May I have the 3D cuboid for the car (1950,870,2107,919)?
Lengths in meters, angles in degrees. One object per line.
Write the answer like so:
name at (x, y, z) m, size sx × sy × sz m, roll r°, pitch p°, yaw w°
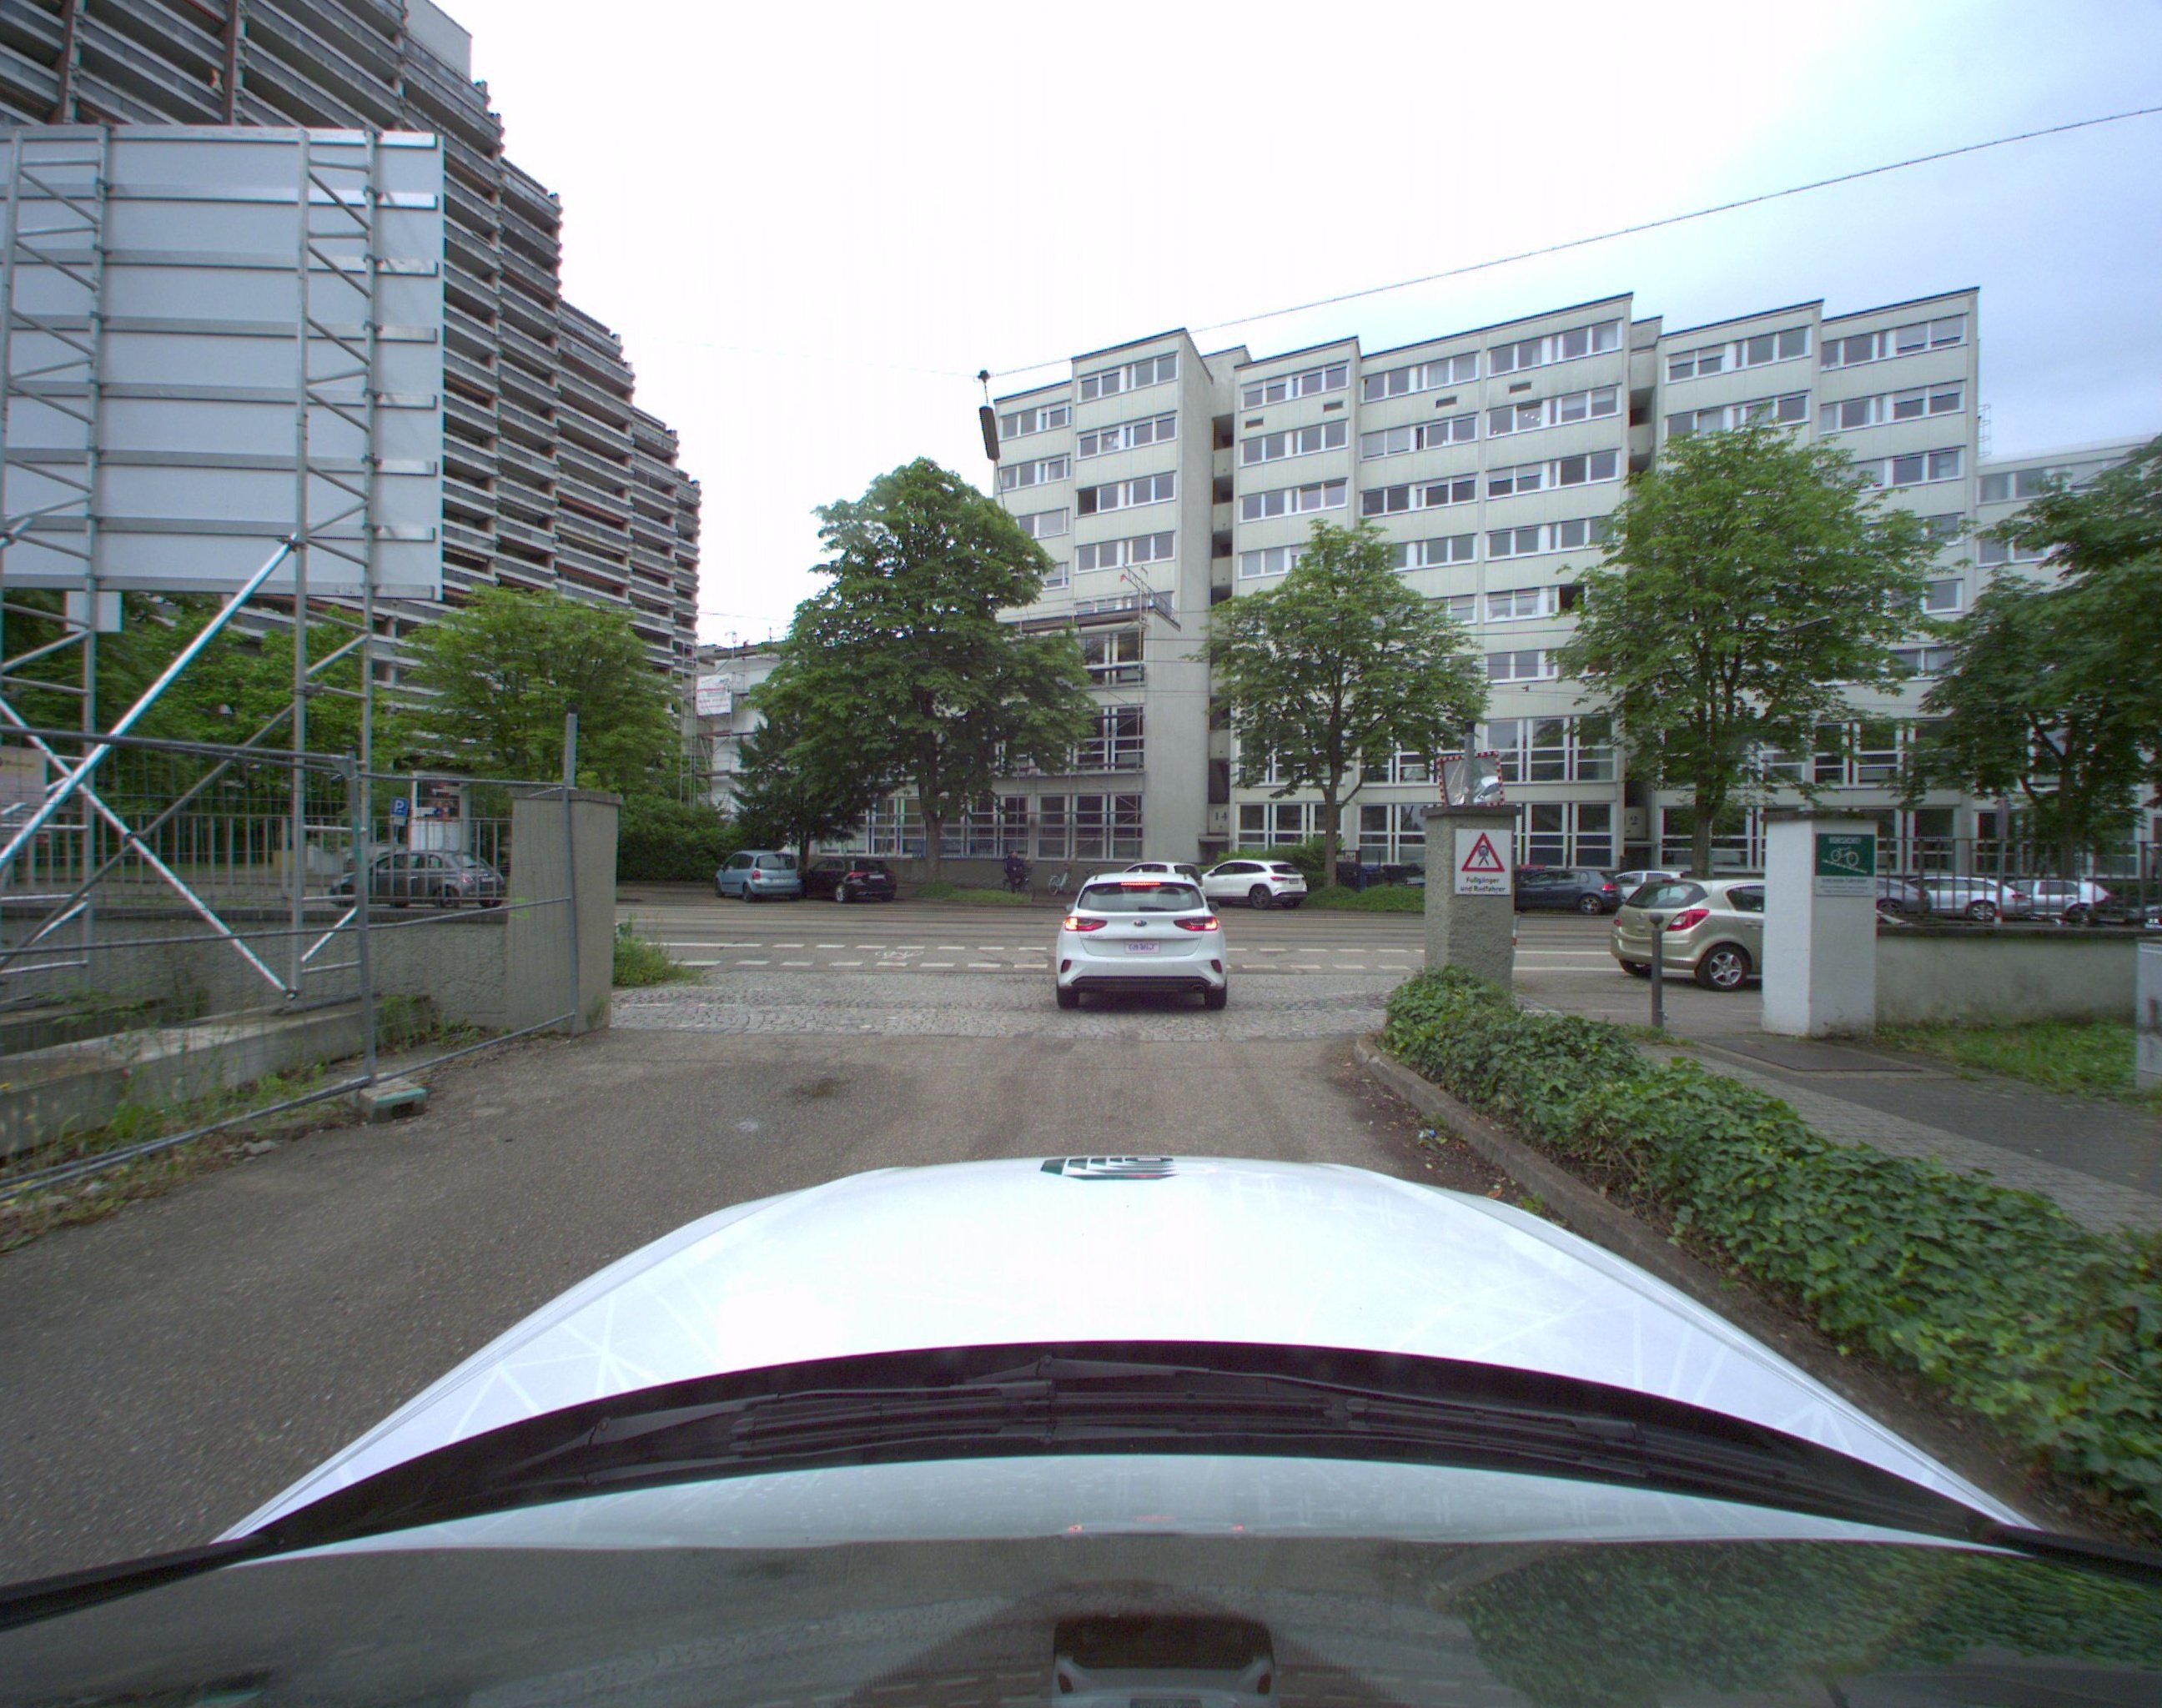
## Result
car at (31.683, 1.304, 27.372) m, size 1.425 × 1.474 × 3.348 m, roll 1°, pitch -1°, yaw -44°

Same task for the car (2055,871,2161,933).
car at (28.466, 1.234, 21.093) m, size 4.225 × 1.490 × 1.824 m, roll 1°, pitch 0°, yaw 1°

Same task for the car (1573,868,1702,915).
car at (18.623, 1.210, 27.346) m, size 1.425 × 1.474 × 3.348 m, roll 1°, pitch -1°, yaw -44°

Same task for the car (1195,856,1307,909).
car at (5.553, 0.886, 26.815) m, size 1.565 × 1.618 × 3.367 m, roll 1°, pitch -1°, yaw -42°

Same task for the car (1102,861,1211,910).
car at (2.399, 0.961, 26.428) m, size 1.565 × 1.473 × 3.367 m, roll 1°, pitch -1°, yaw -42°

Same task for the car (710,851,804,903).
car at (-10.369, 0.677, 25.970) m, size 1.628 × 1.537 × 3.296 m, roll 1°, pitch -1°, yaw -45°

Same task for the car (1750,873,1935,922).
car at (25.414, 1.435, 27.395) m, size 4.441 × 1.474 × 1.425 m, roll 0°, pitch -4°, yaw 42°

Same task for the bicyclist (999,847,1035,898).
bicyclist at (-2.205, 0.627, 27.925) m, size 0.839 × 1.698 × 0.886 m, roll 1°, pitch -1°, yaw -43°

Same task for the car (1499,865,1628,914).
car at (15.652, 1.119, 26.525) m, size 1.425 × 1.474 × 3.348 m, roll 1°, pitch -1°, yaw -44°

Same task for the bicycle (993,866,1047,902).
bicycle at (-2.098, 1.007, 27.809) m, size 0.826 × 1.174 × 1.892 m, roll 1°, pitch -1°, yaw -43°

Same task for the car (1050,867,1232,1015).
car at (0.764, 0.931, 9.948) m, size 1.767 × 1.433 × 3.983 m, roll 0°, pitch -3°, yaw 5°

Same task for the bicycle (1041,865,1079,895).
bicycle at (-0.836, 1.032, 32.741) m, size 0.638 × 1.074 × 2.325 m, roll 1°, pitch 2°, yaw 22°

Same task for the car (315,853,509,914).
car at (-16.268, 0.693, 19.914) m, size 3.410 × 1.420 × 1.520 m, roll 0°, pitch 0°, yaw -1°

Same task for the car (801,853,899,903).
car at (-7.414, 0.727, 26.018) m, size 1.628 × 1.511 × 3.296 m, roll 1°, pitch -1°, yaw -45°

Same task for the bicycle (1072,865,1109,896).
bicycle at (0.387, 1.028, 32.215) m, size 0.638 × 1.074 × 2.325 m, roll 1°, pitch 2°, yaw 22°

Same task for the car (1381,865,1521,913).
car at (12.230, 1.111, 27.046) m, size 3.904 × 1.474 × 1.683 m, roll 0°, pitch -1°, yaw 42°

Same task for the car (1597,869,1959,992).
car at (9.386, 0.989, 11.177) m, size 3.570 × 1.501 × 1.665 m, roll 1°, pitch 0°, yaw 0°

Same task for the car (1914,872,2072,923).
car at (29.410, 1.348, 26.422) m, size 1.425 × 1.474 × 3.348 m, roll 1°, pitch -1°, yaw -44°
